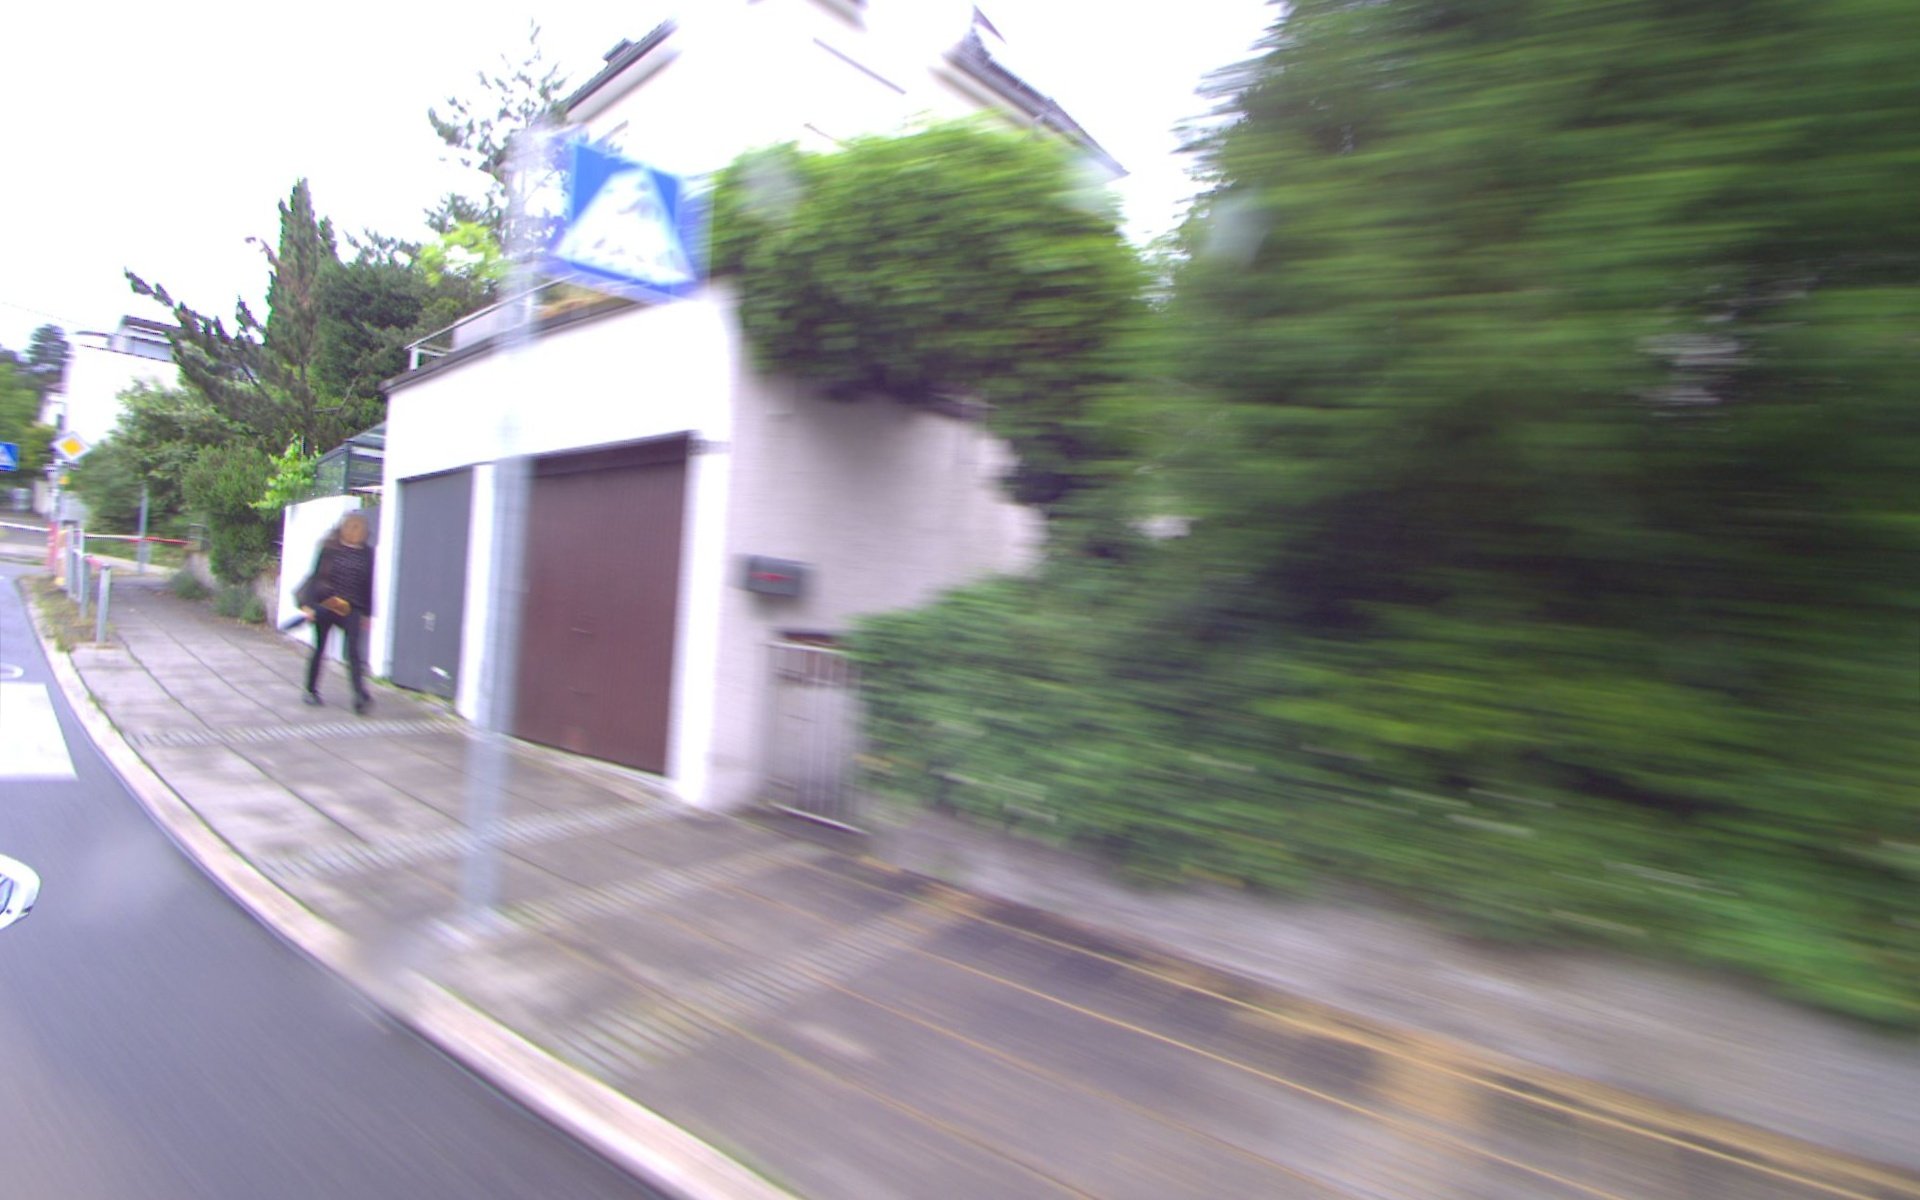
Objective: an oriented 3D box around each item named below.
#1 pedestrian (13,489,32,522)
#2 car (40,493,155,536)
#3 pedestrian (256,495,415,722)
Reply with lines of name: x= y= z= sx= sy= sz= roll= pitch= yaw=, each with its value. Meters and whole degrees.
pedestrian: x=-55.238 y=-5.580 z=59.276 sx=0.734 sy=1.817 sz=0.637 roll=7 pitch=1 yaw=42
car: x=-42.675 y=-4.202 z=49.892 sx=3.958 sy=1.432 sz=1.711 roll=7 pitch=-1 yaw=-31
pedestrian: x=-5.188 y=0.052 z=8.350 sx=1.046 sy=1.745 sz=0.801 roll=6 pitch=2 yaw=44
